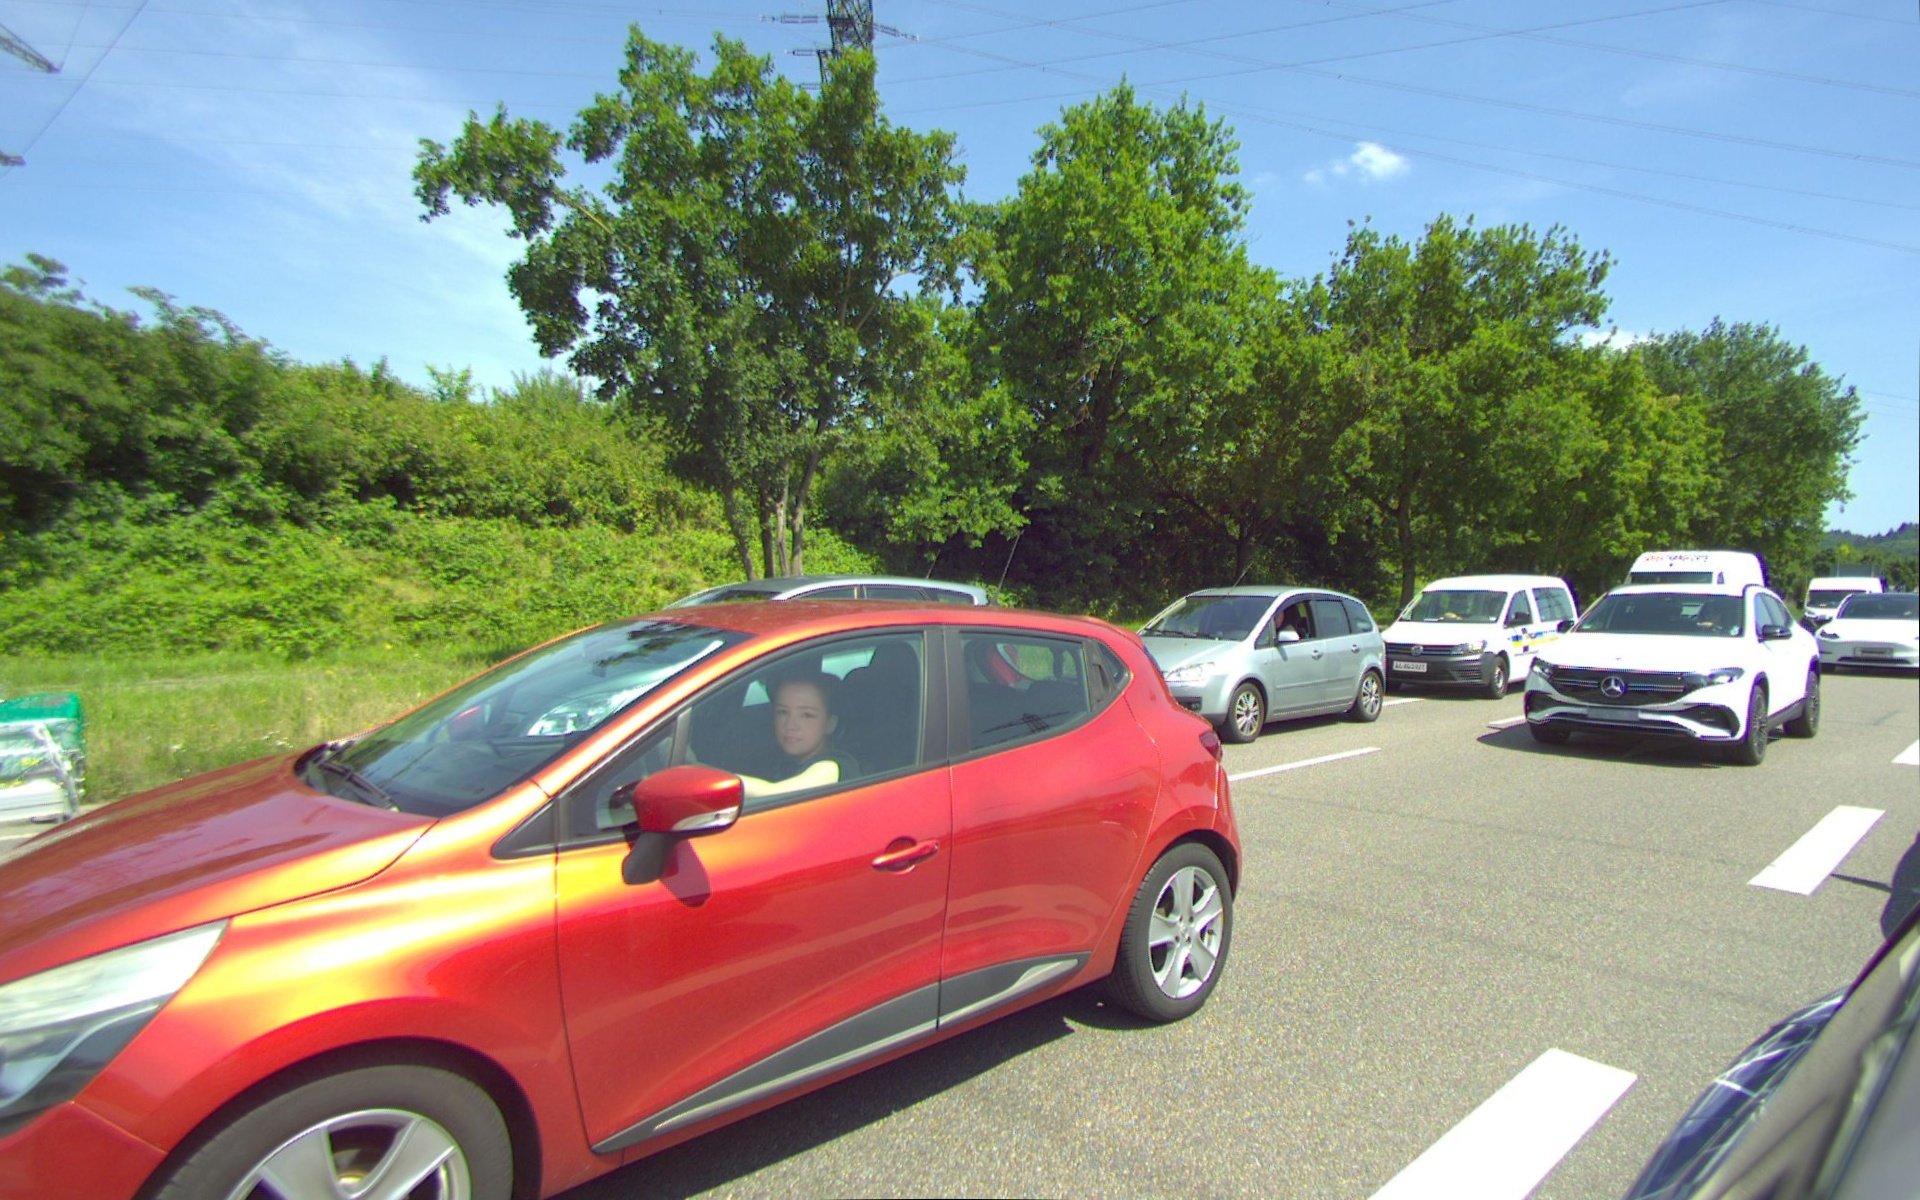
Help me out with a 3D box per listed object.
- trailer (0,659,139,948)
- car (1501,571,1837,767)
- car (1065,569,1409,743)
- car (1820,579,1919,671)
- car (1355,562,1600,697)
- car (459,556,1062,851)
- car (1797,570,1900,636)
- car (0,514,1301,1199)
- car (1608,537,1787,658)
[{"bbox_3d":[-5.223,0.844,3.811,3.266,1.019,1.708,0,0,-41],"label":"trailer"},{"bbox_3d":[7.345,0.550,10.318,4.287,1.588,1.849,0,0,-41],"label":"car"},{"bbox_3d":[3.262,0.515,11.461,4.198,1.614,1.746,0,0,-41],"label":"car"},{"bbox_3d":[18.794,0.453,20.219,3.932,1.703,2.019,0,0,-43],"label":"car"},{"bbox_3d":[8.302,0.391,16.004,4.950,1.823,1.807,0,0,-42],"label":"car"},{"bbox_3d":[-1.293,0.543,7.562,4.092,1.615,1.768,0,1,-41],"label":"car"},{"bbox_3d":[35.196,0.098,40.023,5.712,2.453,2.306,0,0,-41],"label":"car"},{"bbox_3d":[-0.738,0.610,3.217,3.995,1.480,1.745,0,0,-42],"label":"car"},{"bbox_3d":[18.581,-0.062,25.334,6.897,2.640,2.230,0,0,-42],"label":"car"}]
